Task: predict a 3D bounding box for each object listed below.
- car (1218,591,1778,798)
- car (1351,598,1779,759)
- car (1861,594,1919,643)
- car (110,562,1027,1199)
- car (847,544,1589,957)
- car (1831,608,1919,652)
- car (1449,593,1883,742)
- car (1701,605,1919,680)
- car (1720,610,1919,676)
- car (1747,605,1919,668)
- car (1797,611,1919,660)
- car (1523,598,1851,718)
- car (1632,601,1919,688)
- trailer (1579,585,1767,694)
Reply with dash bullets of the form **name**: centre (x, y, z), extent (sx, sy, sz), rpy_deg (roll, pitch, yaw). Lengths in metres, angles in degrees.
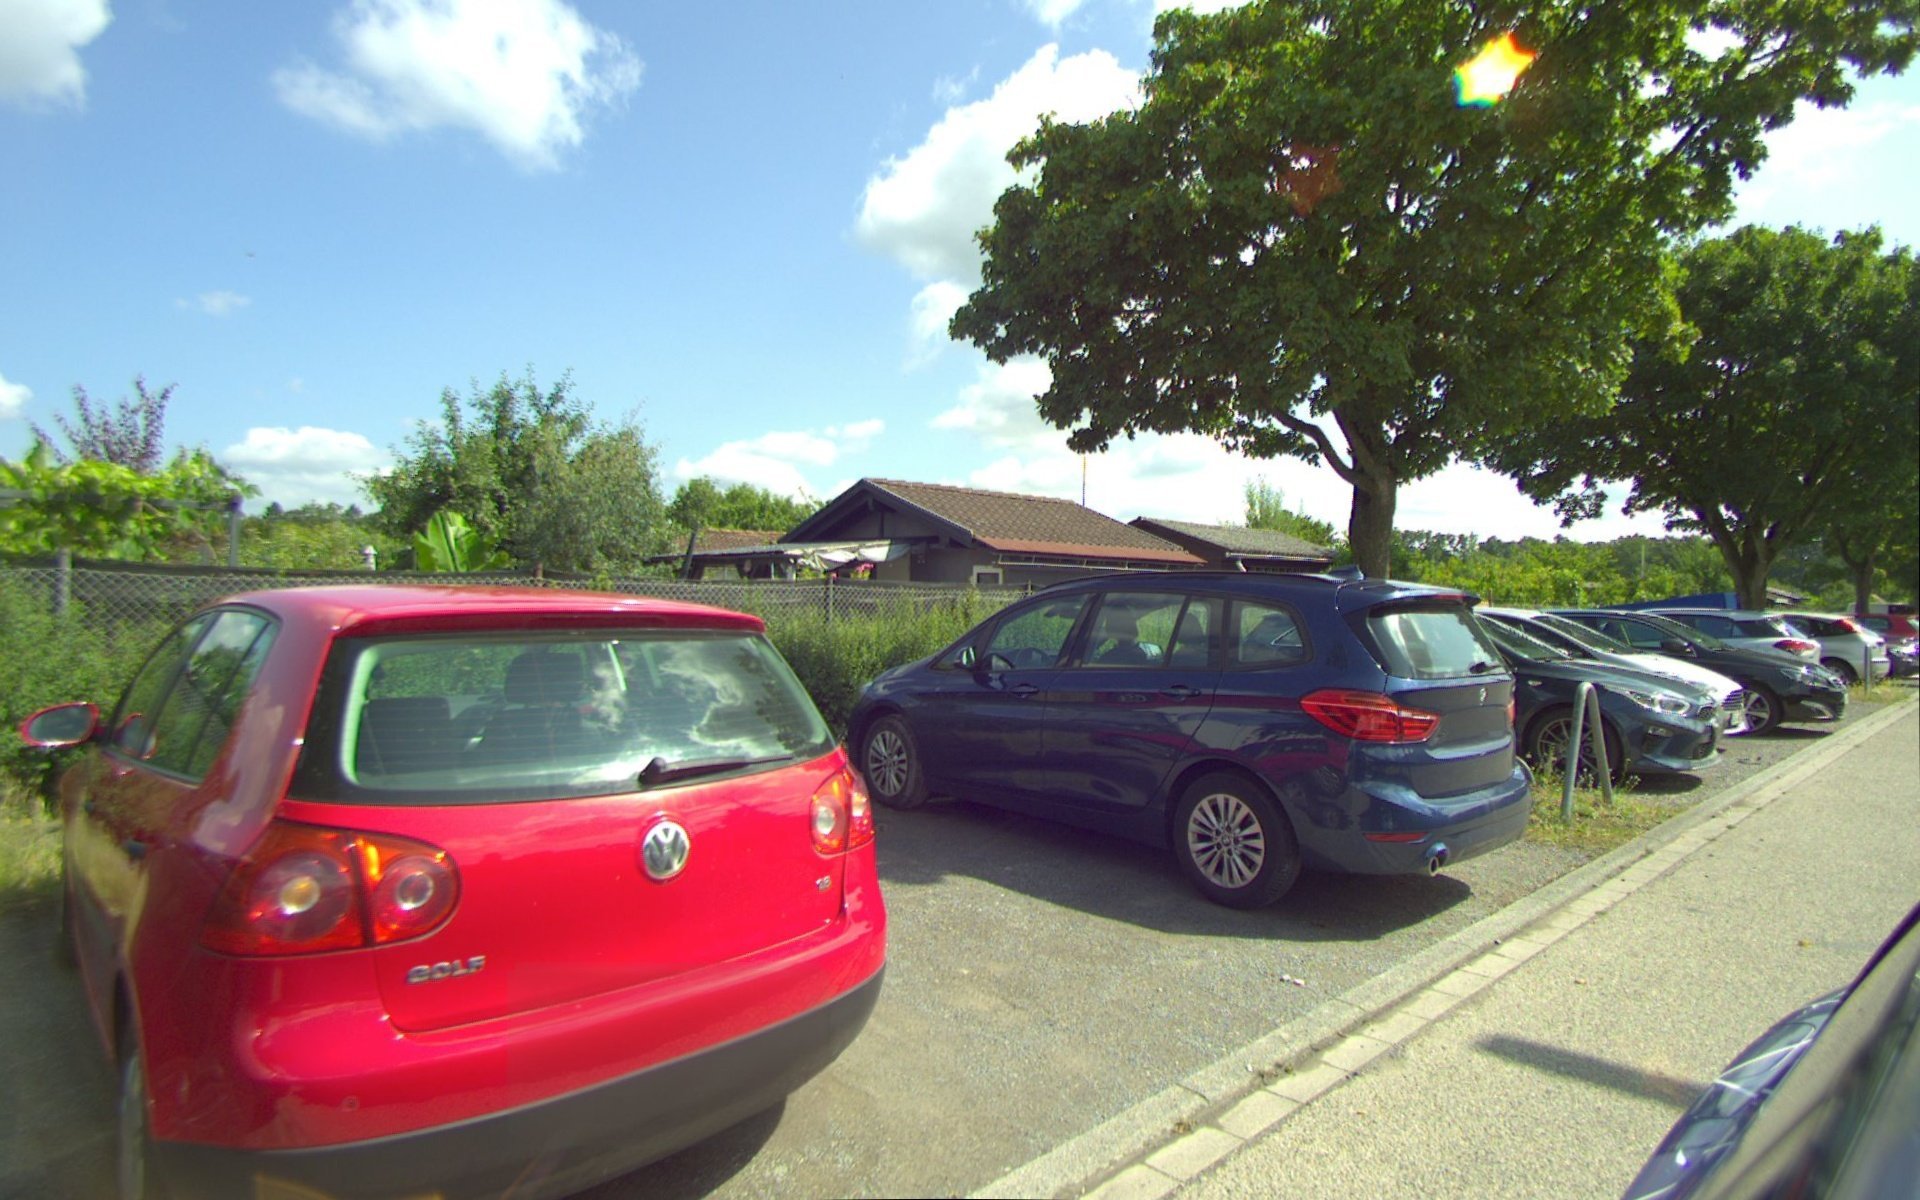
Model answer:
- **car**: centre (4.878, 0.708, 9.686), extent (1.941, 1.511, 4.341), rpy_deg (0, -1, -42)
- **car**: centre (6.740, 0.746, 11.560), extent (1.870, 1.511, 3.818), rpy_deg (0, -1, -42)
- **car**: centre (39.909, 0.793, 41.206), extent (2.076, 1.910, 4.640), rpy_deg (1, 1, -43)
- **car**: centre (-1.733, 0.675, 3.462), extent (1.731, 1.551, 3.816), rpy_deg (0, 1, -41)
- **car**: centre (1.228, 0.555, 6.269), extent (1.845, 1.658, 4.163), rpy_deg (0, 1, -40)
- **car**: centre (34.187, 1.049, 36.326), extent (1.845, 1.523, 4.191), rpy_deg (0, -1, -40)
- **car**: centre (8.997, 0.742, 13.191), extent (1.966, 1.614, 4.308), rpy_deg (0, -1, -42)
- **car**: centre (18.688, 0.859, 21.848), extent (1.839, 1.474, 4.069), rpy_deg (0, -1, -43)
- **car**: centre (20.877, 0.958, 24.230), extent (1.922, 1.442, 3.919), rpy_deg (0, -1, -38)
- **car**: centre (23.351, 0.918, 26.519), extent (1.820, 1.539, 3.997), rpy_deg (0, -1, -38)
- **car**: centre (28.935, 1.079, 31.549), extent (1.877, 1.446, 4.240), rpy_deg (0, -1, -45)
- **car**: centre (10.755, 0.764, 15.130), extent (1.819, 1.559, 3.725), rpy_deg (0, -1, -44)
- **car**: centre (15.886, 0.792, 19.881), extent (1.922, 1.531, 4.074), rpy_deg (0, -1, -38)
- **trailer**: centre (12.364, 0.658, 17.601), extent (1.493, 1.743, 2.450), rpy_deg (2, -2, -45)
